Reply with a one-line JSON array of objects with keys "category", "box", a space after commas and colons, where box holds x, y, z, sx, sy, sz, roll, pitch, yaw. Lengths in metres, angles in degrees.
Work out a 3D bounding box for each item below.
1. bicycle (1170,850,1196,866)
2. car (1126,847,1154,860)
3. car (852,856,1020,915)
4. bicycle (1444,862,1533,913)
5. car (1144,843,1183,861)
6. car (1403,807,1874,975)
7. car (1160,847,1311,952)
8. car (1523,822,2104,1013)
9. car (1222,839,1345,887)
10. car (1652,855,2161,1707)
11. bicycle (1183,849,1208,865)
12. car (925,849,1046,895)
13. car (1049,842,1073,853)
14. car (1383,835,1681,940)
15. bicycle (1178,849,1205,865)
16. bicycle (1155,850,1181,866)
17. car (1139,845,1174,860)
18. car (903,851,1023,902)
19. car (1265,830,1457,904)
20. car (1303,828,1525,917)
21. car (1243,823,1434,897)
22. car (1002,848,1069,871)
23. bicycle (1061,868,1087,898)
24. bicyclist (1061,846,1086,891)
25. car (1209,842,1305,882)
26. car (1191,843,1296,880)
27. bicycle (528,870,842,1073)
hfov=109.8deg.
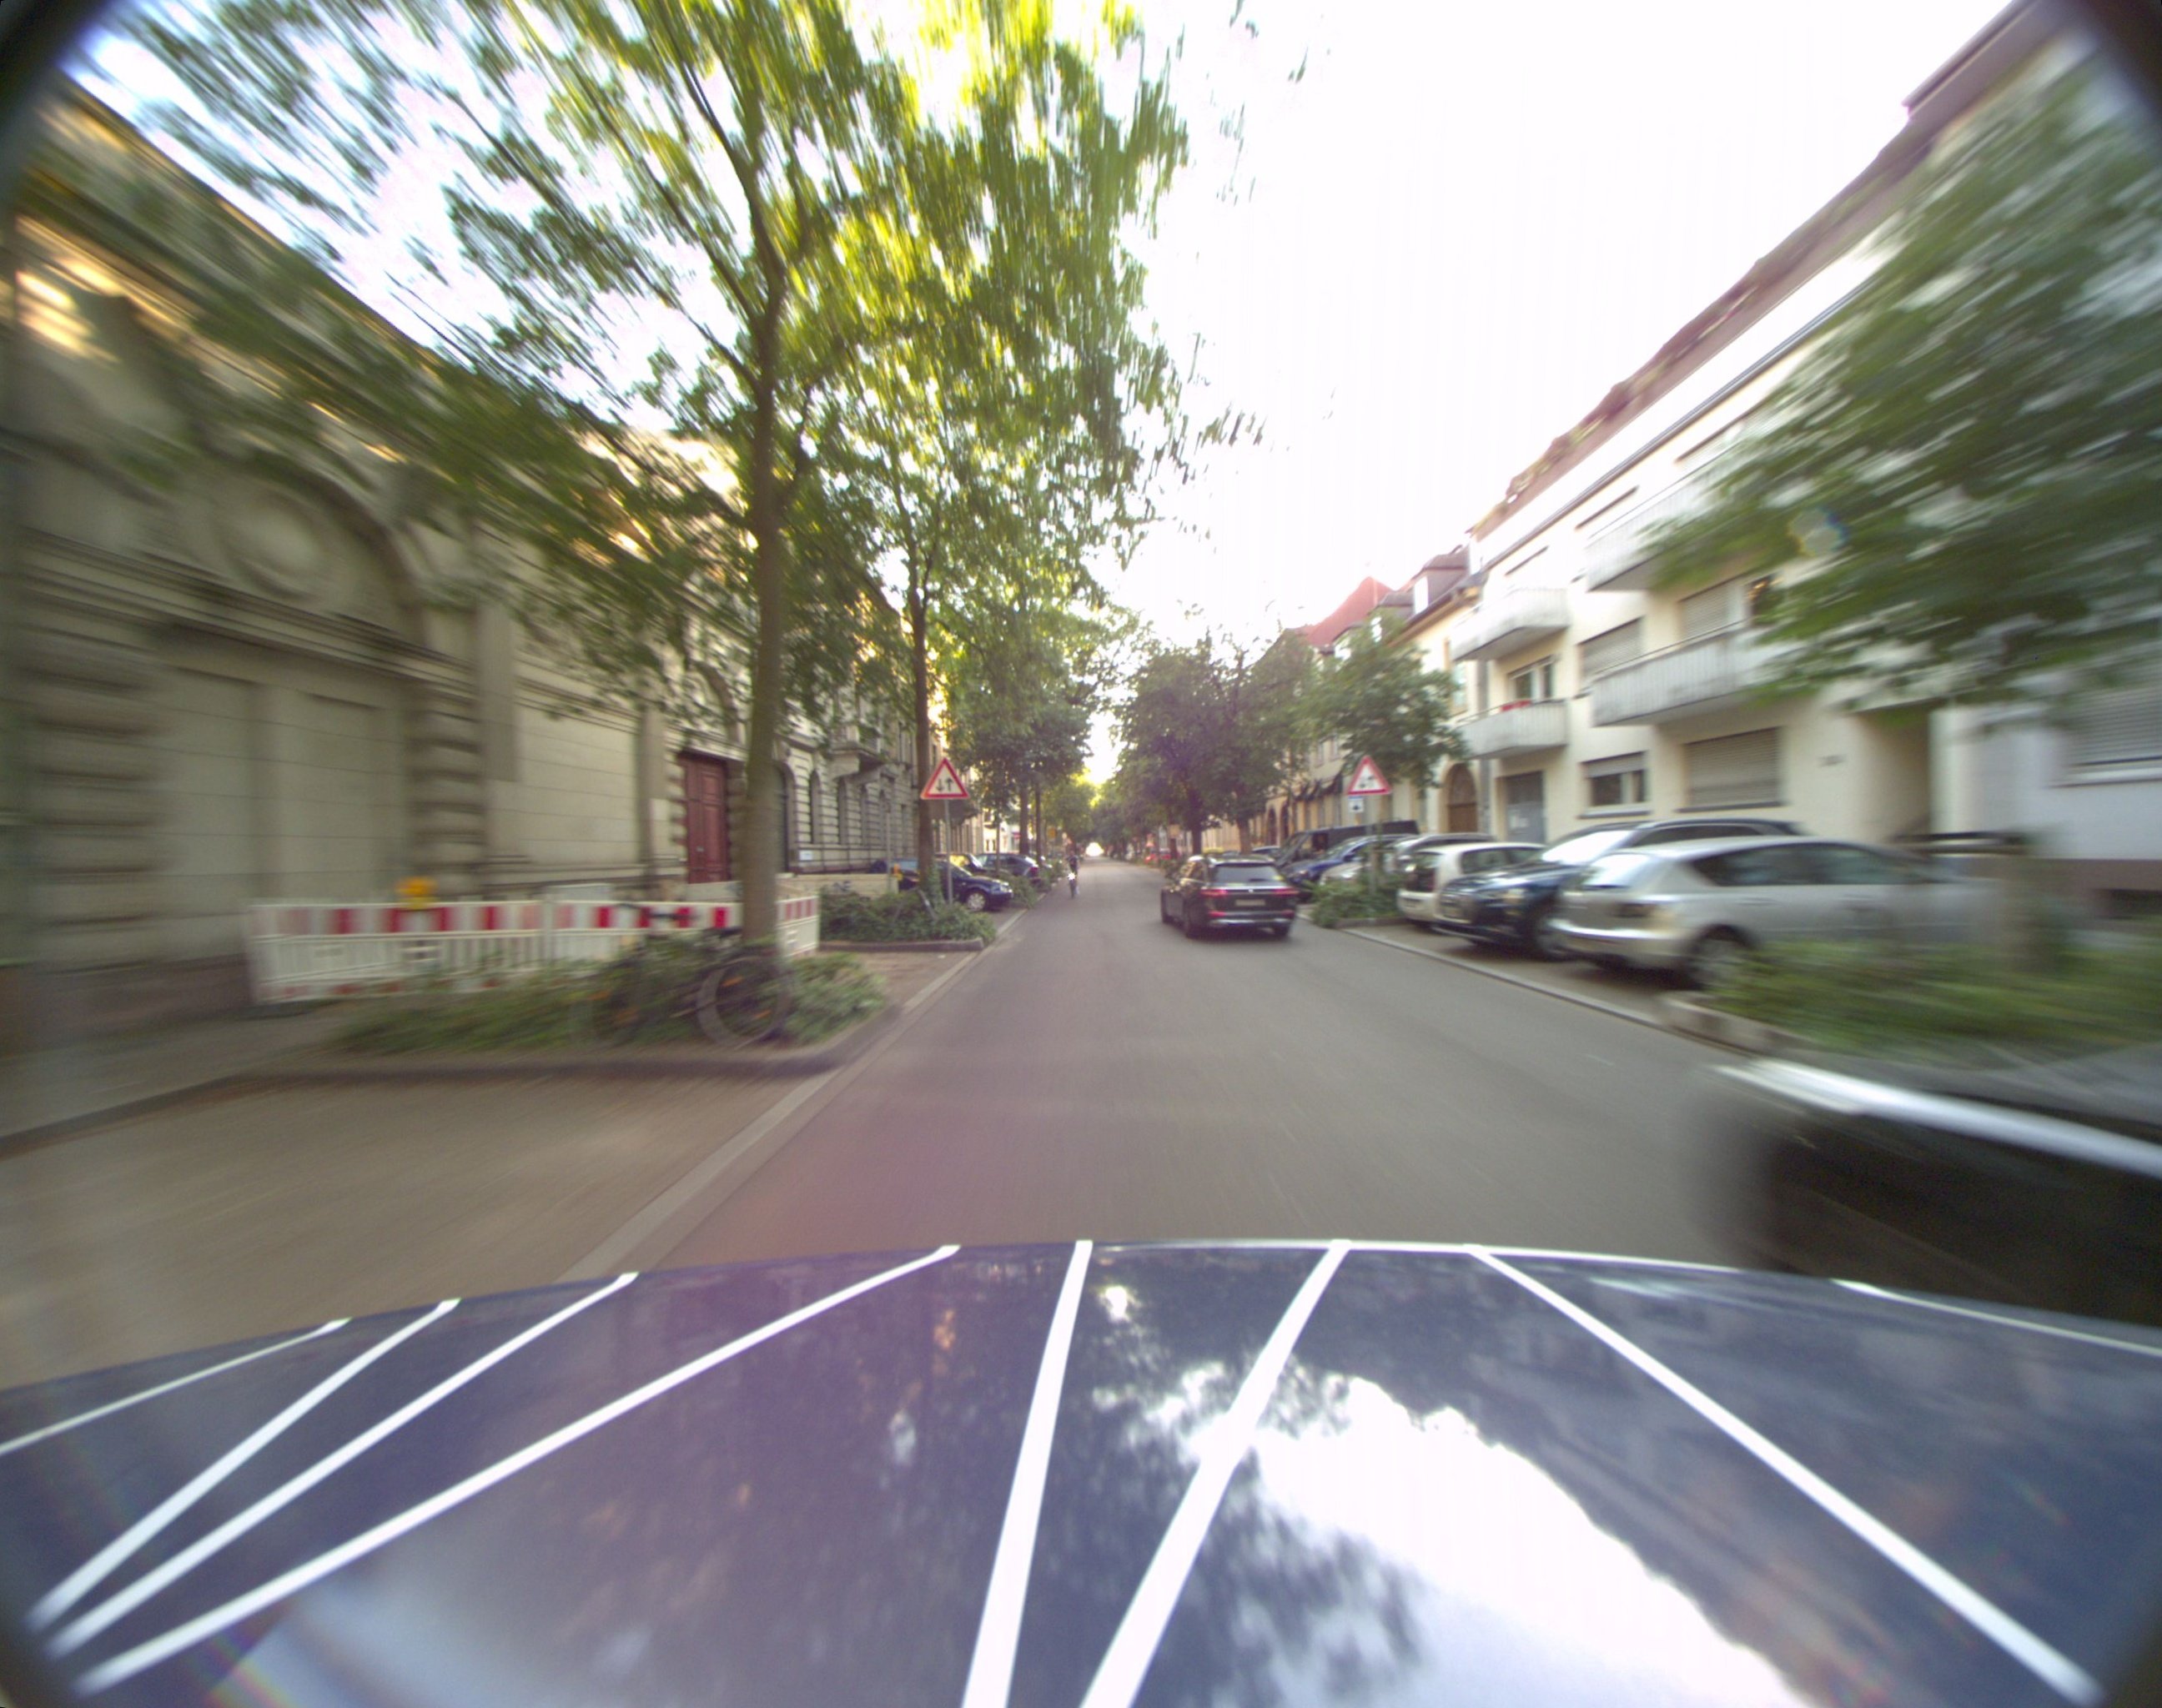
[{"category": "bicycle", "box": [7.888, 0.306, 58.670, 1.869, 1.093, 0.480, -4, 1, -5]}, {"category": "car", "box": [7.875, -0.097, 101.334, 3.552, 1.411, 1.590, -4, 0, 1]}, {"category": "car", "box": [-3.881, 0.827, 20.893, 4.234, 1.472, 1.854, 1, 1, 1]}, {"category": "bicycle", "box": [8.062, 0.638, 15.121, 0.748, 0.868, 1.814, -3, 1, 0]}, {"category": "car", "box": [8.002, -0.194, 74.169, 3.497, 1.397, 1.673, -4, 0, -2]}, {"category": "car", "box": [7.138, 0.435, 10.185, 4.677, 1.755, 2.156, -3, 1, 0]}, {"category": "car", "box": [2.701, 0.709, 14.438, 1.882, 1.631, 4.645, -1, 1, 0]}, {"category": "car", "box": [7.110, 0.585, 7.779, 4.038, 1.485, 1.780, -4, 1, 4]}, {"category": "car", "box": [8.074, 0.339, 30.557, 4.365, 1.530, 1.771, -4, 2, 1]}, {"category": "car", "box": [2.846, 0.811, 0.421, 1.881, 1.540, 4.274, -1, 1, 1]}, {"category": "bicycle", "box": [8.321, 0.228, 55.338, 1.711, 1.093, 0.480, -4, 1, -5]}, {"category": "car", "box": [-3.689, 0.680, 29.953, 4.451, 1.708, 1.968, -1, 2, 1]}, {"category": "car", "box": [-3.073, -1.005, 118.087, 3.552, 1.411, 1.590, -4, 0, 1]}, {"category": "car", "box": [7.418, 0.536, 12.819, 3.855, 1.442, 1.855, -3, 0, 1]}, {"category": "bicycle", "box": [8.228, 0.200, 56.776, 1.869, 1.093, 0.480, -4, 1, -5]}, {"category": "bicycle", "box": [6.765, 0.294, 59.232, 1.869, 1.092, 0.480, -4, 1, -5]}, {"category": "car", "box": [8.226, -0.165, 82.607, 3.552, 1.411, 1.590, -4, 0, -2]}, {"category": "car", "box": [-4.208, 0.795, 27.485, 4.017, 1.677, 1.765, -1, 0, 1]}, {"category": "car", "box": [7.391, 0.324, 20.414, 4.365, 1.564, 1.930, -5, 1, 1]}, {"category": "car", "box": [7.444, 0.401, 17.310, 4.165, 1.582, 1.823, -5, 1, 1]}, {"category": "car", "box": [7.694, 0.172, 23.096, 5.003, 1.979, 2.189, -2, 0, 0]}, {"category": "car", "box": [-3.228, 0.385, 54.043, 4.420, 1.552, 1.867, 1, 0, 8]}, {"category": "bicycle", "box": [-0.248, 1.041, 28.059, 0.778, 0.967, 2.024, -2, 1, 4]}, {"category": "bicyclist", "box": [-0.268, 0.514, 28.042, 0.753, 1.612, 1.147, -3, 1, 4]}, {"category": "car", "box": [7.608, 0.339, 33.070, 3.693, 1.441, 1.659, -4, 1, 1]}, {"category": "car", "box": [7.599, 0.334, 35.760, 4.436, 1.399, 1.717, -4, 2, -3]}, {"category": "bicycle", "box": [-2.986, 0.869, 5.841, 2.051, 1.353, 0.508, -3, 1, -1]}]
